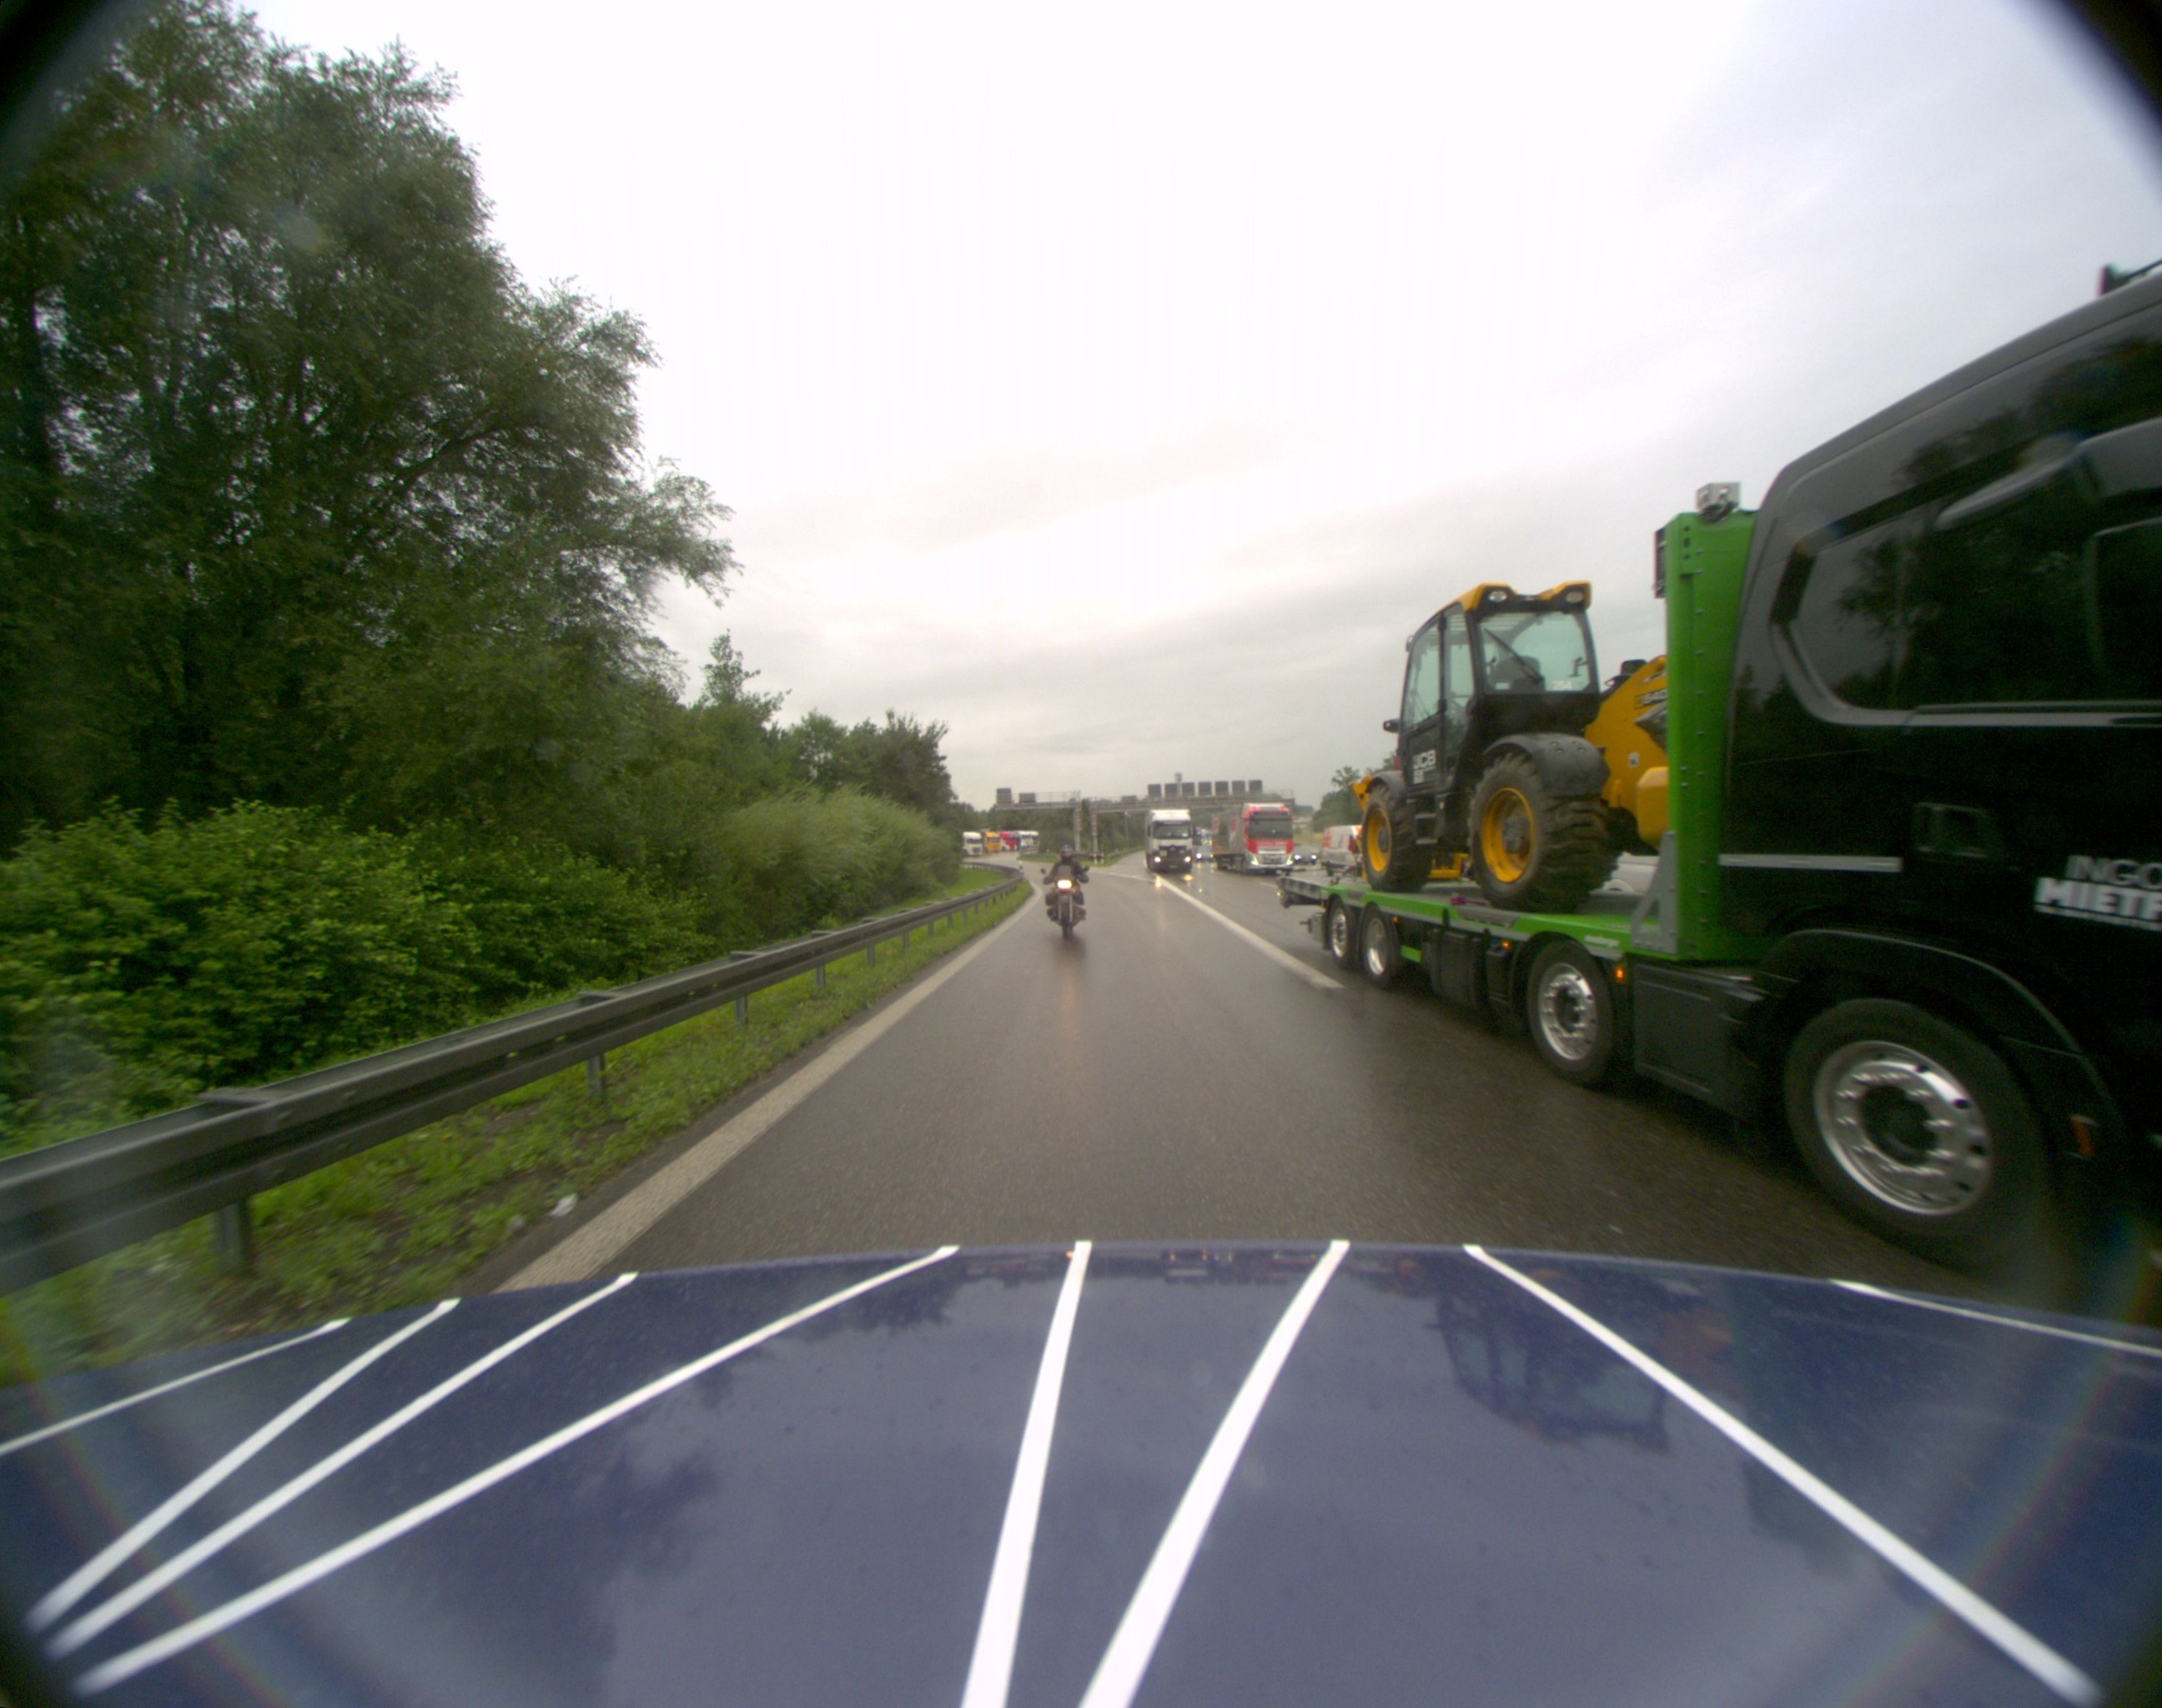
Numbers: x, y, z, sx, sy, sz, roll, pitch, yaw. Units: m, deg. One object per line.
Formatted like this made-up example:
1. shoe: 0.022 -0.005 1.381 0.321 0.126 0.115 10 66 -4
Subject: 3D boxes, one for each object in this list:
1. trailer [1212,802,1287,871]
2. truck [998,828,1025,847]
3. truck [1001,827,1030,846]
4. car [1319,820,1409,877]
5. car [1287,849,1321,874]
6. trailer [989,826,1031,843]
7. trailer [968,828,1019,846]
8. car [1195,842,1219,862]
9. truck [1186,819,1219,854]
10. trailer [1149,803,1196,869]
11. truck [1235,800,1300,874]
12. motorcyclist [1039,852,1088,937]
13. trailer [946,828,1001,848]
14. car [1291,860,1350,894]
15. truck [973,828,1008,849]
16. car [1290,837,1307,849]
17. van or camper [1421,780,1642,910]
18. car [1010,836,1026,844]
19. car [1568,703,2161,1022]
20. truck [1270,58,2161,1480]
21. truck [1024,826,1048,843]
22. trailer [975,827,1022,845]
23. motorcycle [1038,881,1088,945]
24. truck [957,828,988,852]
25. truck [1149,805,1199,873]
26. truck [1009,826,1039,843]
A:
1. trailer: 10.659 -1.127 49.663 2.633 3.842 13.676 -1 1 3
2. truck: -14.829 -3.568 161.210 3.252 3.898 5.007 -3 3 -42
3. truck: -14.412 -3.812 166.251 2.905 3.898 6.536 -3 3 -42
4. car: 13.639 -0.305 37.238 2.153 2.474 7.366 -1 1 4
5. car: 18.954 0.587 64.787 1.762 1.762 3.999 -5 2 3
6. trailer: -18.354 -4.967 194.909 3.252 4.069 13.494 -3 3 -42
7. trailer: -19.278 -3.695 166.262 3.252 3.898 14.787 -3 3 -42
8. car: 12.587 -0.219 76.120 1.762 1.762 3.999 -5 2 4
9. truck: 15.908 -2.484 100.027 3.354 4.048 12.572 -4 2 6
10. trailer: 6.523 -1.350 56.202 2.924 4.182 13.637 -1 2 5
11. truck: 10.229 -0.928 42.065 2.633 3.842 4.589 -1 1 3
12. motorcyclist: -0.322 0.752 14.839 0.878 1.559 1.373 -1 1 1
13. trailer: -21.799 -3.197 152.939 2.874 3.898 16.586 -3 3 -38
14. car: 12.517 1.176 40.045 1.932 1.514 4.763 -1 1 4
15. truck: -17.686 -2.985 147.695 2.845 3.898 8.107 -3 3 -38
16. car: 37.125 -1.876 129.935 1.997 2.002 4.739 -3 1 7
17. van or camper: 12.756 -0.292 22.405 2.585 3.186 7.131 -1 1 3
18. car: -15.169 -3.349 184.128 1.851 1.848 3.988 -4 3 -39
19. car: 8.728 0.013 9.195 2.220 2.615 5.844 -1 1 4
20. truck: 4.351 -0.299 6.866 2.837 3.568 11.797 -1 1 3
21. truck: -11.852 -5.090 199.059 3.251 4.362 5.797 -4 3 -42
22. trailer: -18.684 -3.952 171.034 2.881 3.898 13.895 -3 3 -42
23. motorcycle: -0.311 1.124 14.979 0.878 1.016 2.352 -1 1 1
24. truck: -18.462 -2.369 129.173 2.836 3.891 5.395 -3 3 -40
25. truck: 5.963 -1.013 49.574 2.925 4.076 6.719 -1 2 5
26. truck: -14.356 -4.903 190.409 3.252 4.069 7.915 -3 3 -42
